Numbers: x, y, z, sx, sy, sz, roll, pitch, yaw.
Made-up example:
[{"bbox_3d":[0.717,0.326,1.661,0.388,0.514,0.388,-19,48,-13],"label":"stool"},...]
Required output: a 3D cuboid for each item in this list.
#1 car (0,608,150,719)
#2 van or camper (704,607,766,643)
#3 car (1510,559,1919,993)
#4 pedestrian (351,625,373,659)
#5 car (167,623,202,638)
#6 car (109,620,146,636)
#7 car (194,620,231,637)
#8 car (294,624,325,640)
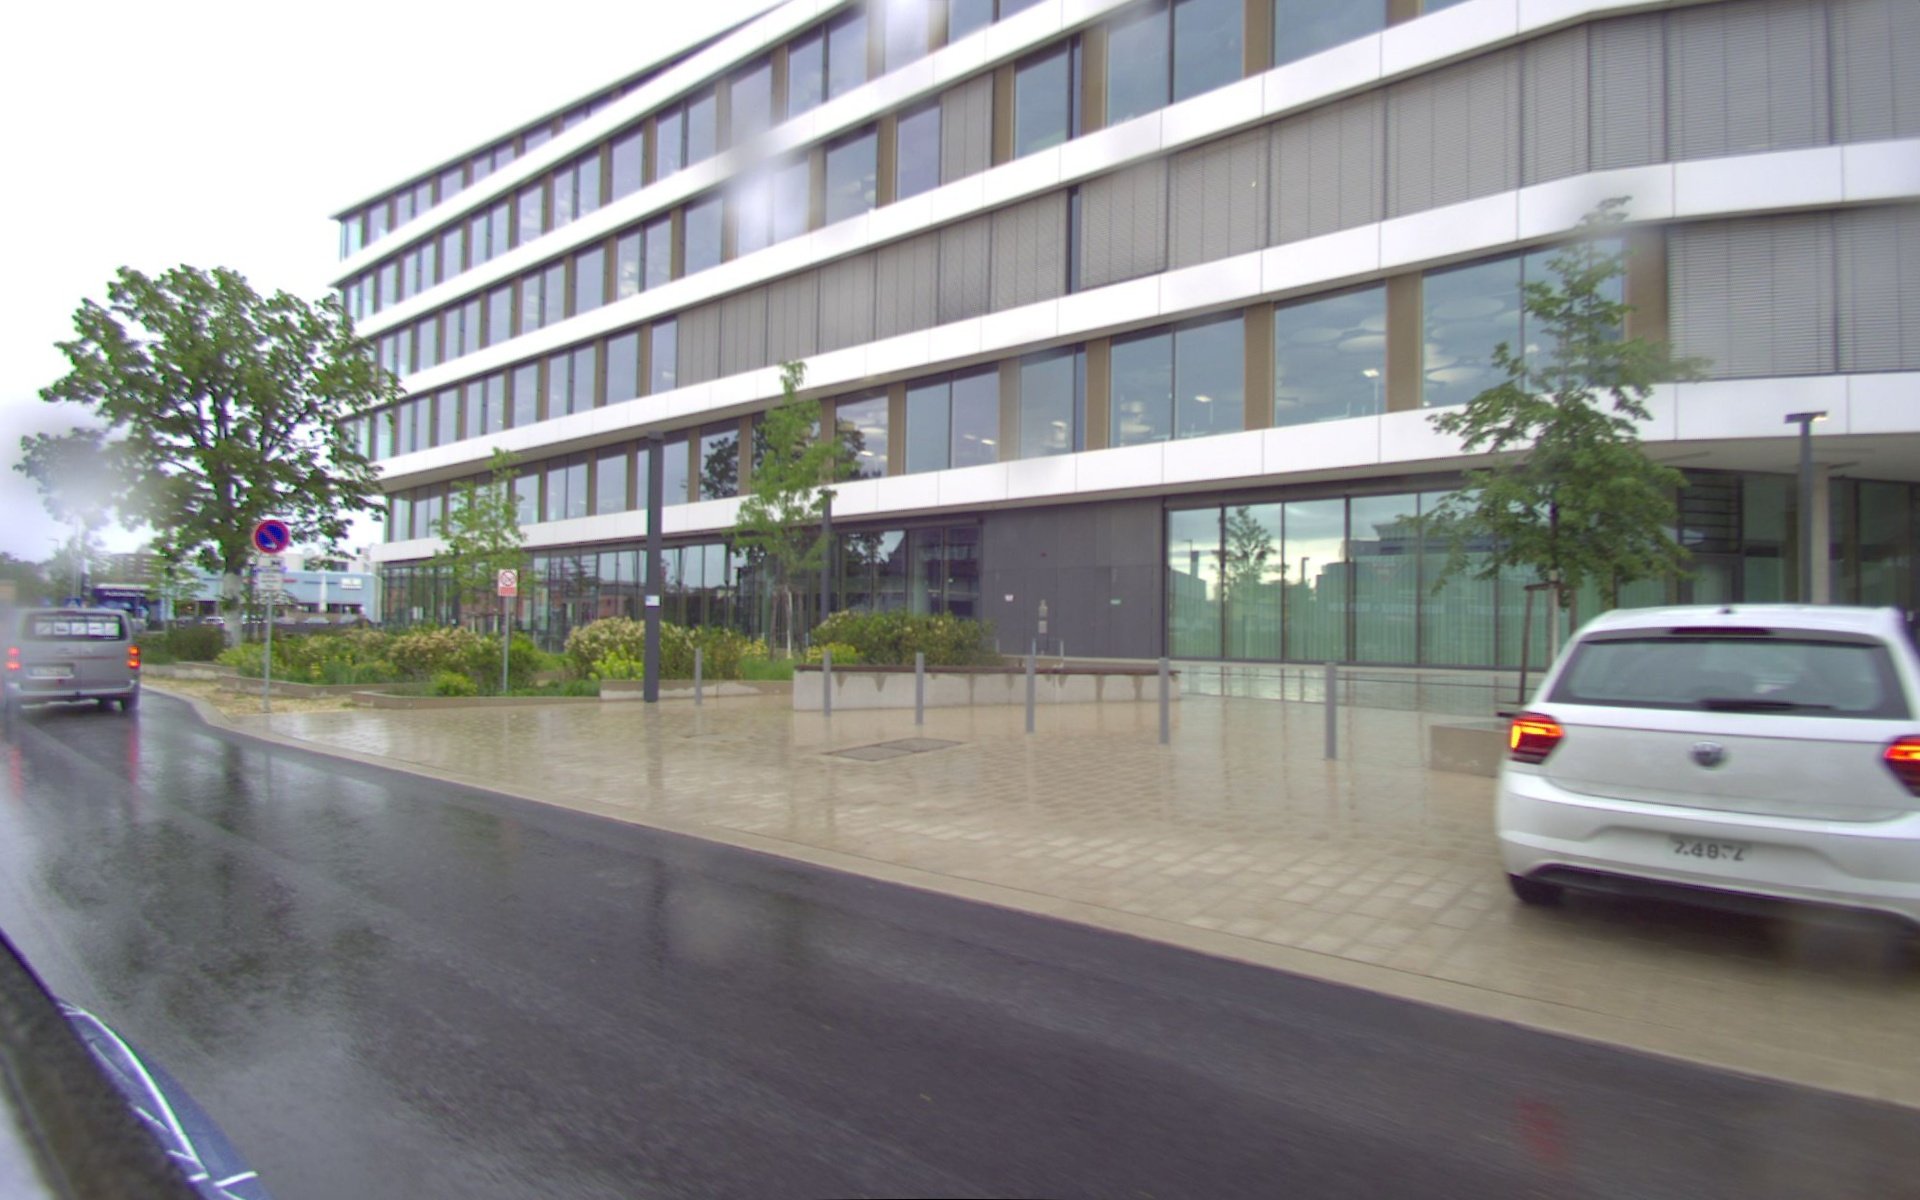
[{"bbox_3d":[-16.942,1.127,19.044,4.980,1.832,1.980,-2,-3,44],"label":"car"},{"bbox_3d":[-20.290,2.259,91.231,5.014,3.111,2.006,-1,-1,-28],"label":"van or camper"},{"bbox_3d":[4.259,0.639,4.992,1.897,1.434,3.886,-2,-3,41],"label":"car"},{"bbox_3d":[-31.312,2.174,52.992,0.957,1.716,0.716,0,2,44],"label":"pedestrian"},{"bbox_3d":[-75.020,2.957,97.930,1.855,1.305,4.013,-2,0,-25],"label":"car"},{"bbox_3d":[-86.026,2.881,104.641,1.888,1.541,4.013,-1,-1,-23],"label":"car"},{"bbox_3d":[-65.331,2.472,88.482,1.855,1.305,4.013,-2,0,-25],"label":"car"},{"bbox_3d":[-59.038,2.859,91.894,1.855,1.305,4.013,-2,0,-25],"label":"car"}]
